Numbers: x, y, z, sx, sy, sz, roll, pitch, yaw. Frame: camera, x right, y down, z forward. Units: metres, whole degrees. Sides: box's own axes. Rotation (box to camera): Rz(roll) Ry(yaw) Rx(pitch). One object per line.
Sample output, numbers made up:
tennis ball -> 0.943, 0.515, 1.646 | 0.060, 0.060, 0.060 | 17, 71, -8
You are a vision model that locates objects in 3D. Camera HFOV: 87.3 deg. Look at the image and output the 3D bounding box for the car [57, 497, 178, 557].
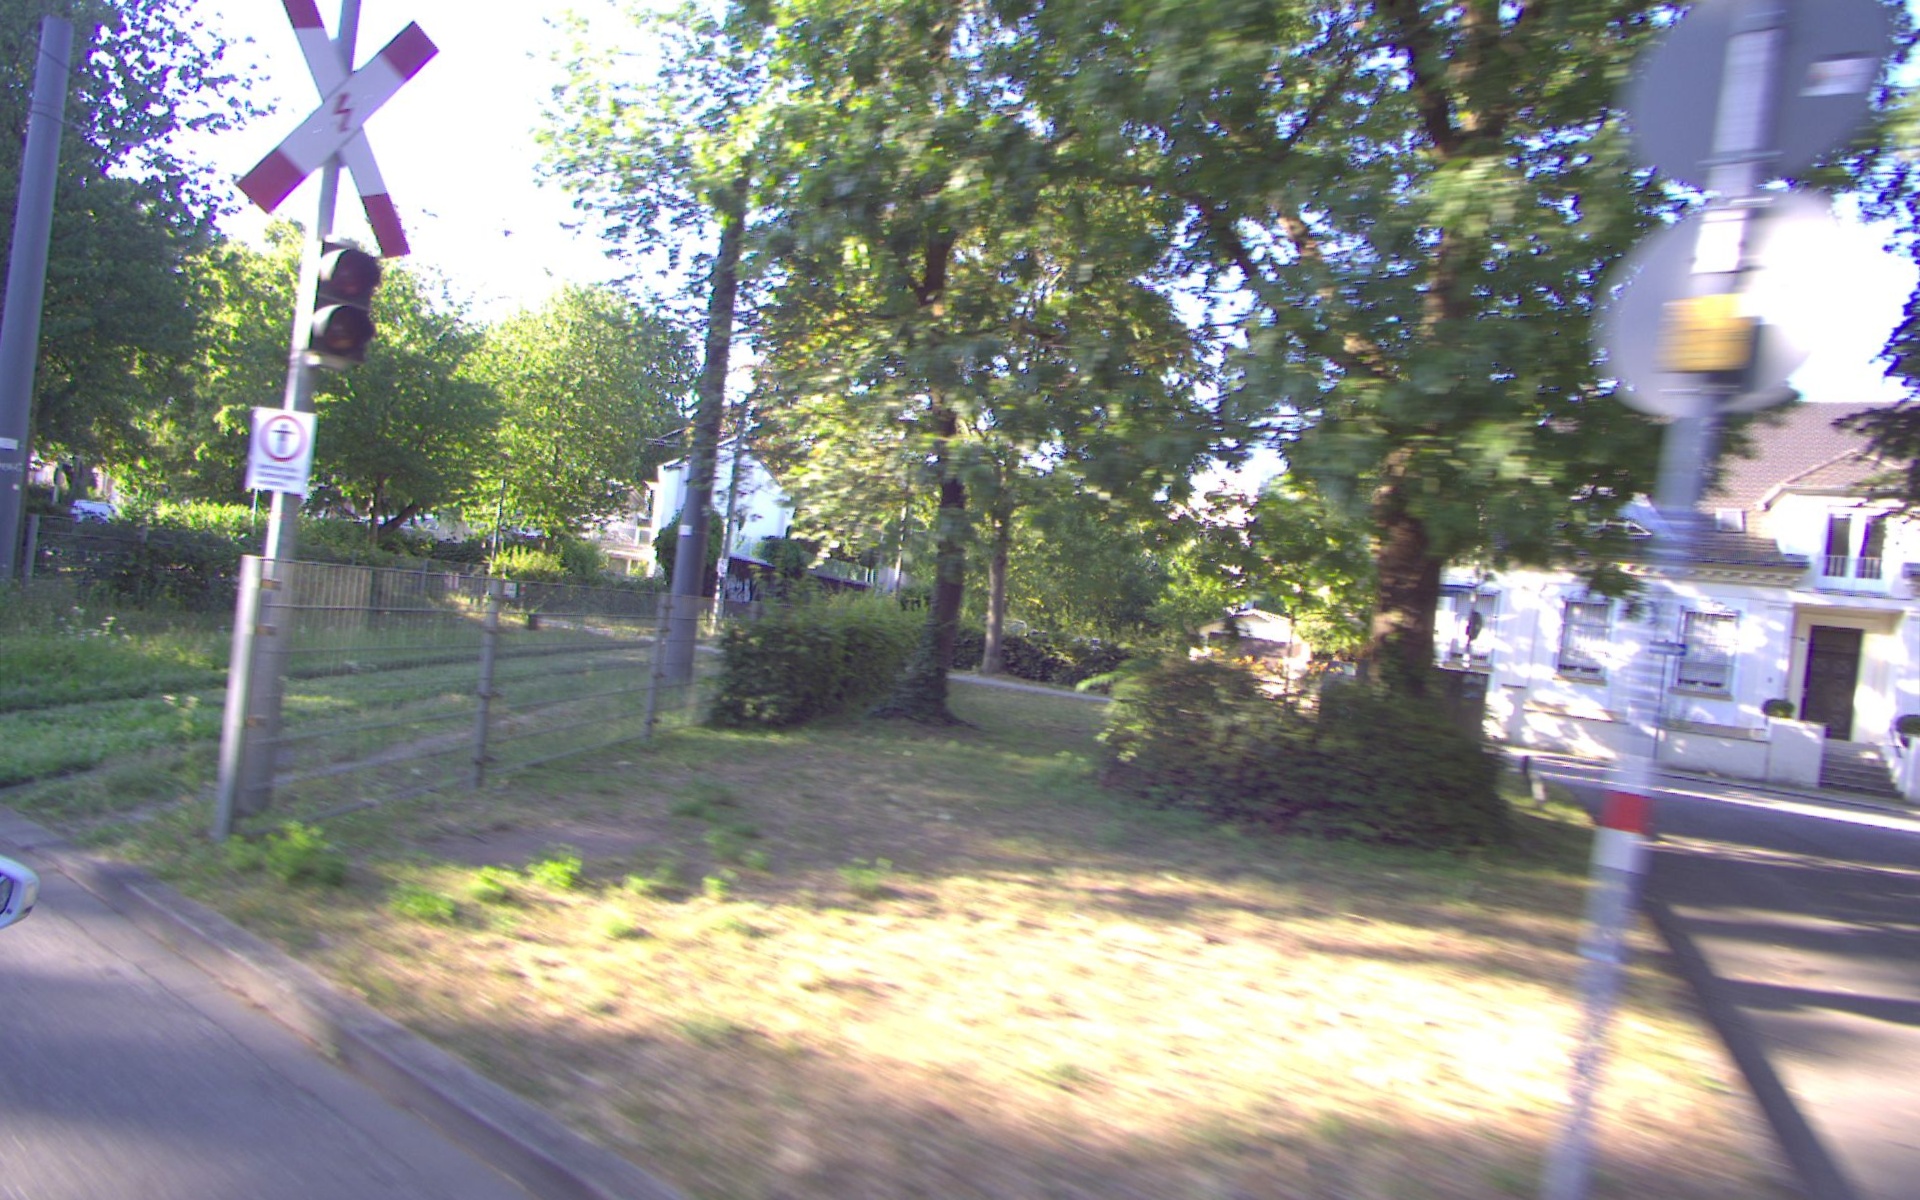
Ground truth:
car -> -37.132, -3.152, 44.531 | 1.929, 2.037, 5.139 | 7, -1, -15
